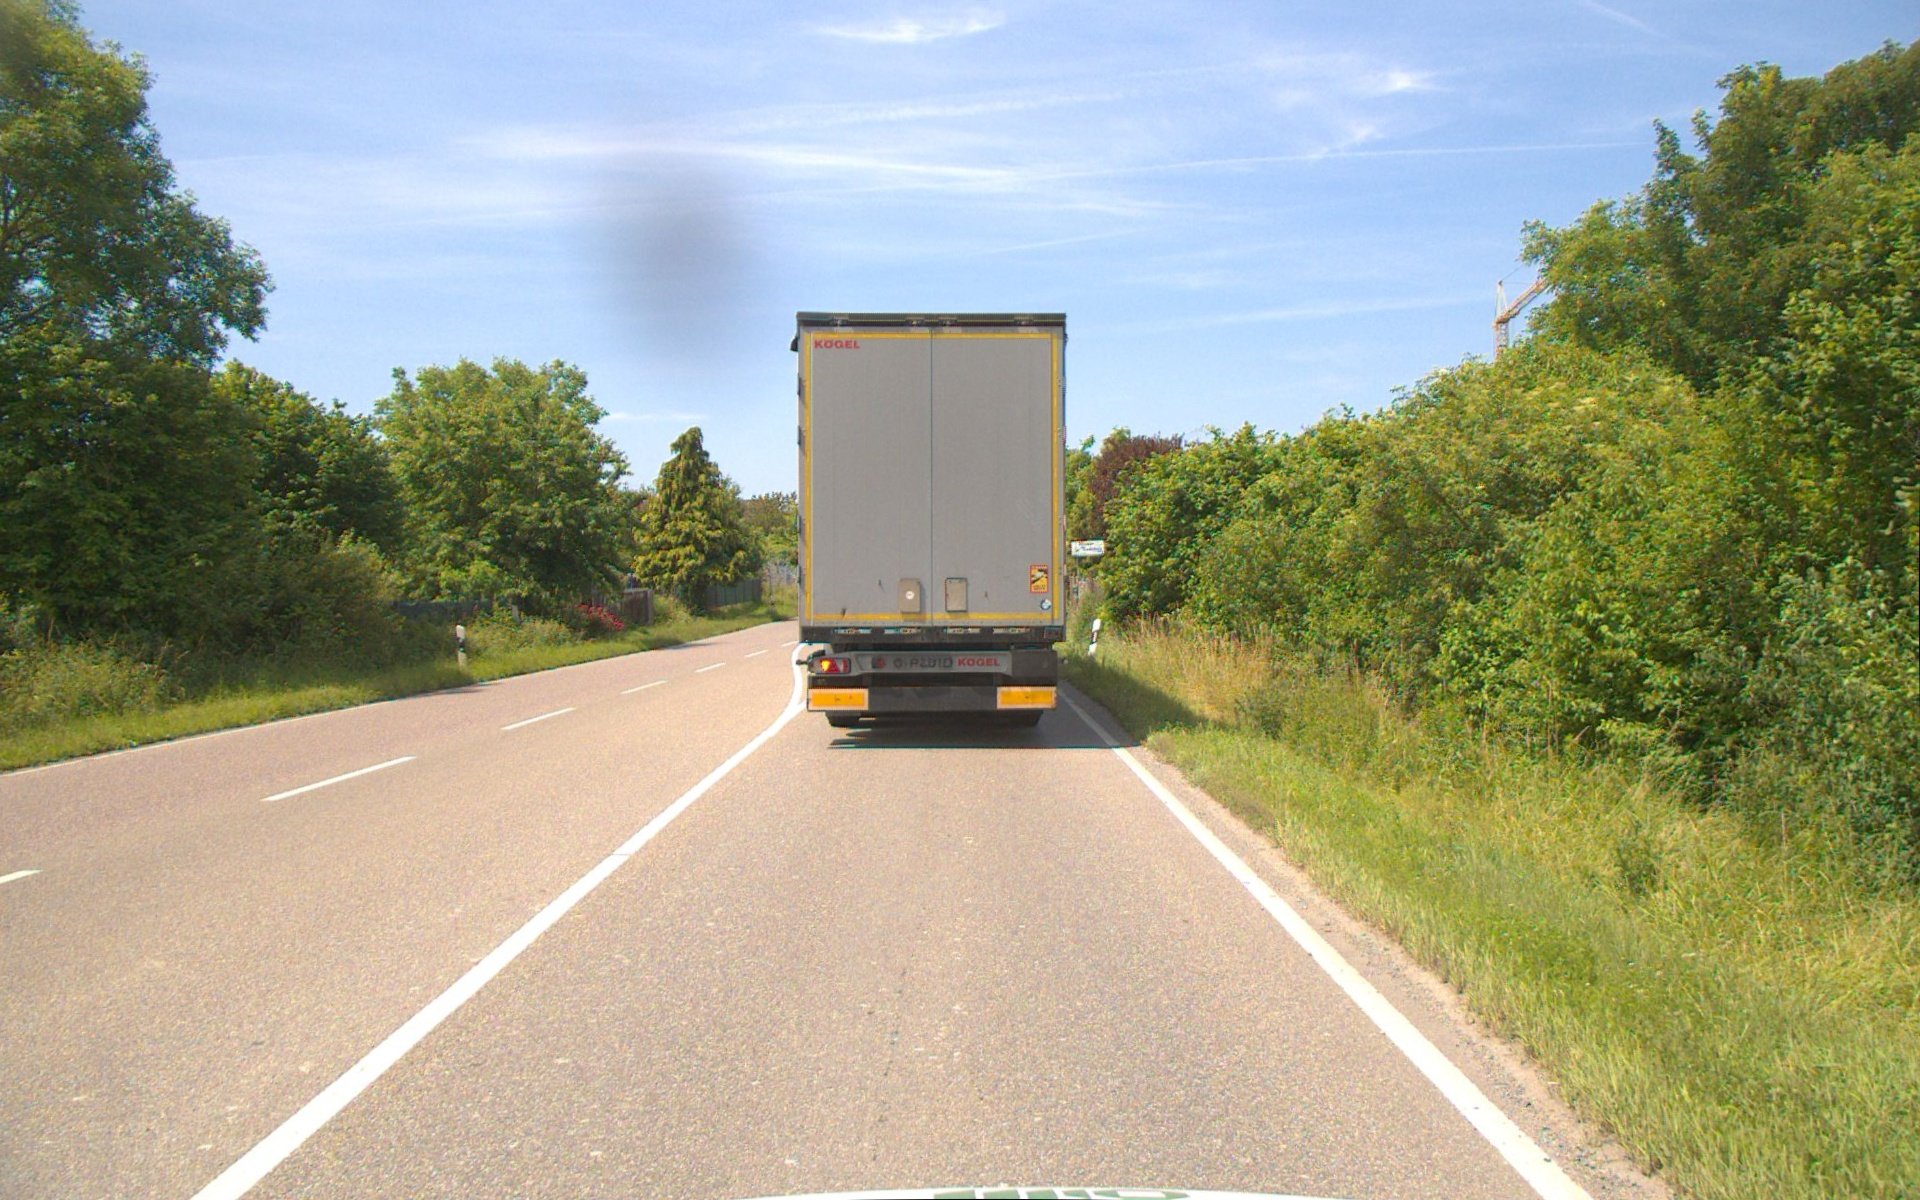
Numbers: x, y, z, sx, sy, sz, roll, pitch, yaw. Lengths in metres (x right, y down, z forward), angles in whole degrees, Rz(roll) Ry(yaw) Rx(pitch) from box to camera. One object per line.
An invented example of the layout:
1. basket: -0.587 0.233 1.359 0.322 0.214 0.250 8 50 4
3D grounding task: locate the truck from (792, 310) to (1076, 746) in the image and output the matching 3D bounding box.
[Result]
1. truck: -0.359 -0.683 19.587 2.594 3.985 8.822 0 0 -2
